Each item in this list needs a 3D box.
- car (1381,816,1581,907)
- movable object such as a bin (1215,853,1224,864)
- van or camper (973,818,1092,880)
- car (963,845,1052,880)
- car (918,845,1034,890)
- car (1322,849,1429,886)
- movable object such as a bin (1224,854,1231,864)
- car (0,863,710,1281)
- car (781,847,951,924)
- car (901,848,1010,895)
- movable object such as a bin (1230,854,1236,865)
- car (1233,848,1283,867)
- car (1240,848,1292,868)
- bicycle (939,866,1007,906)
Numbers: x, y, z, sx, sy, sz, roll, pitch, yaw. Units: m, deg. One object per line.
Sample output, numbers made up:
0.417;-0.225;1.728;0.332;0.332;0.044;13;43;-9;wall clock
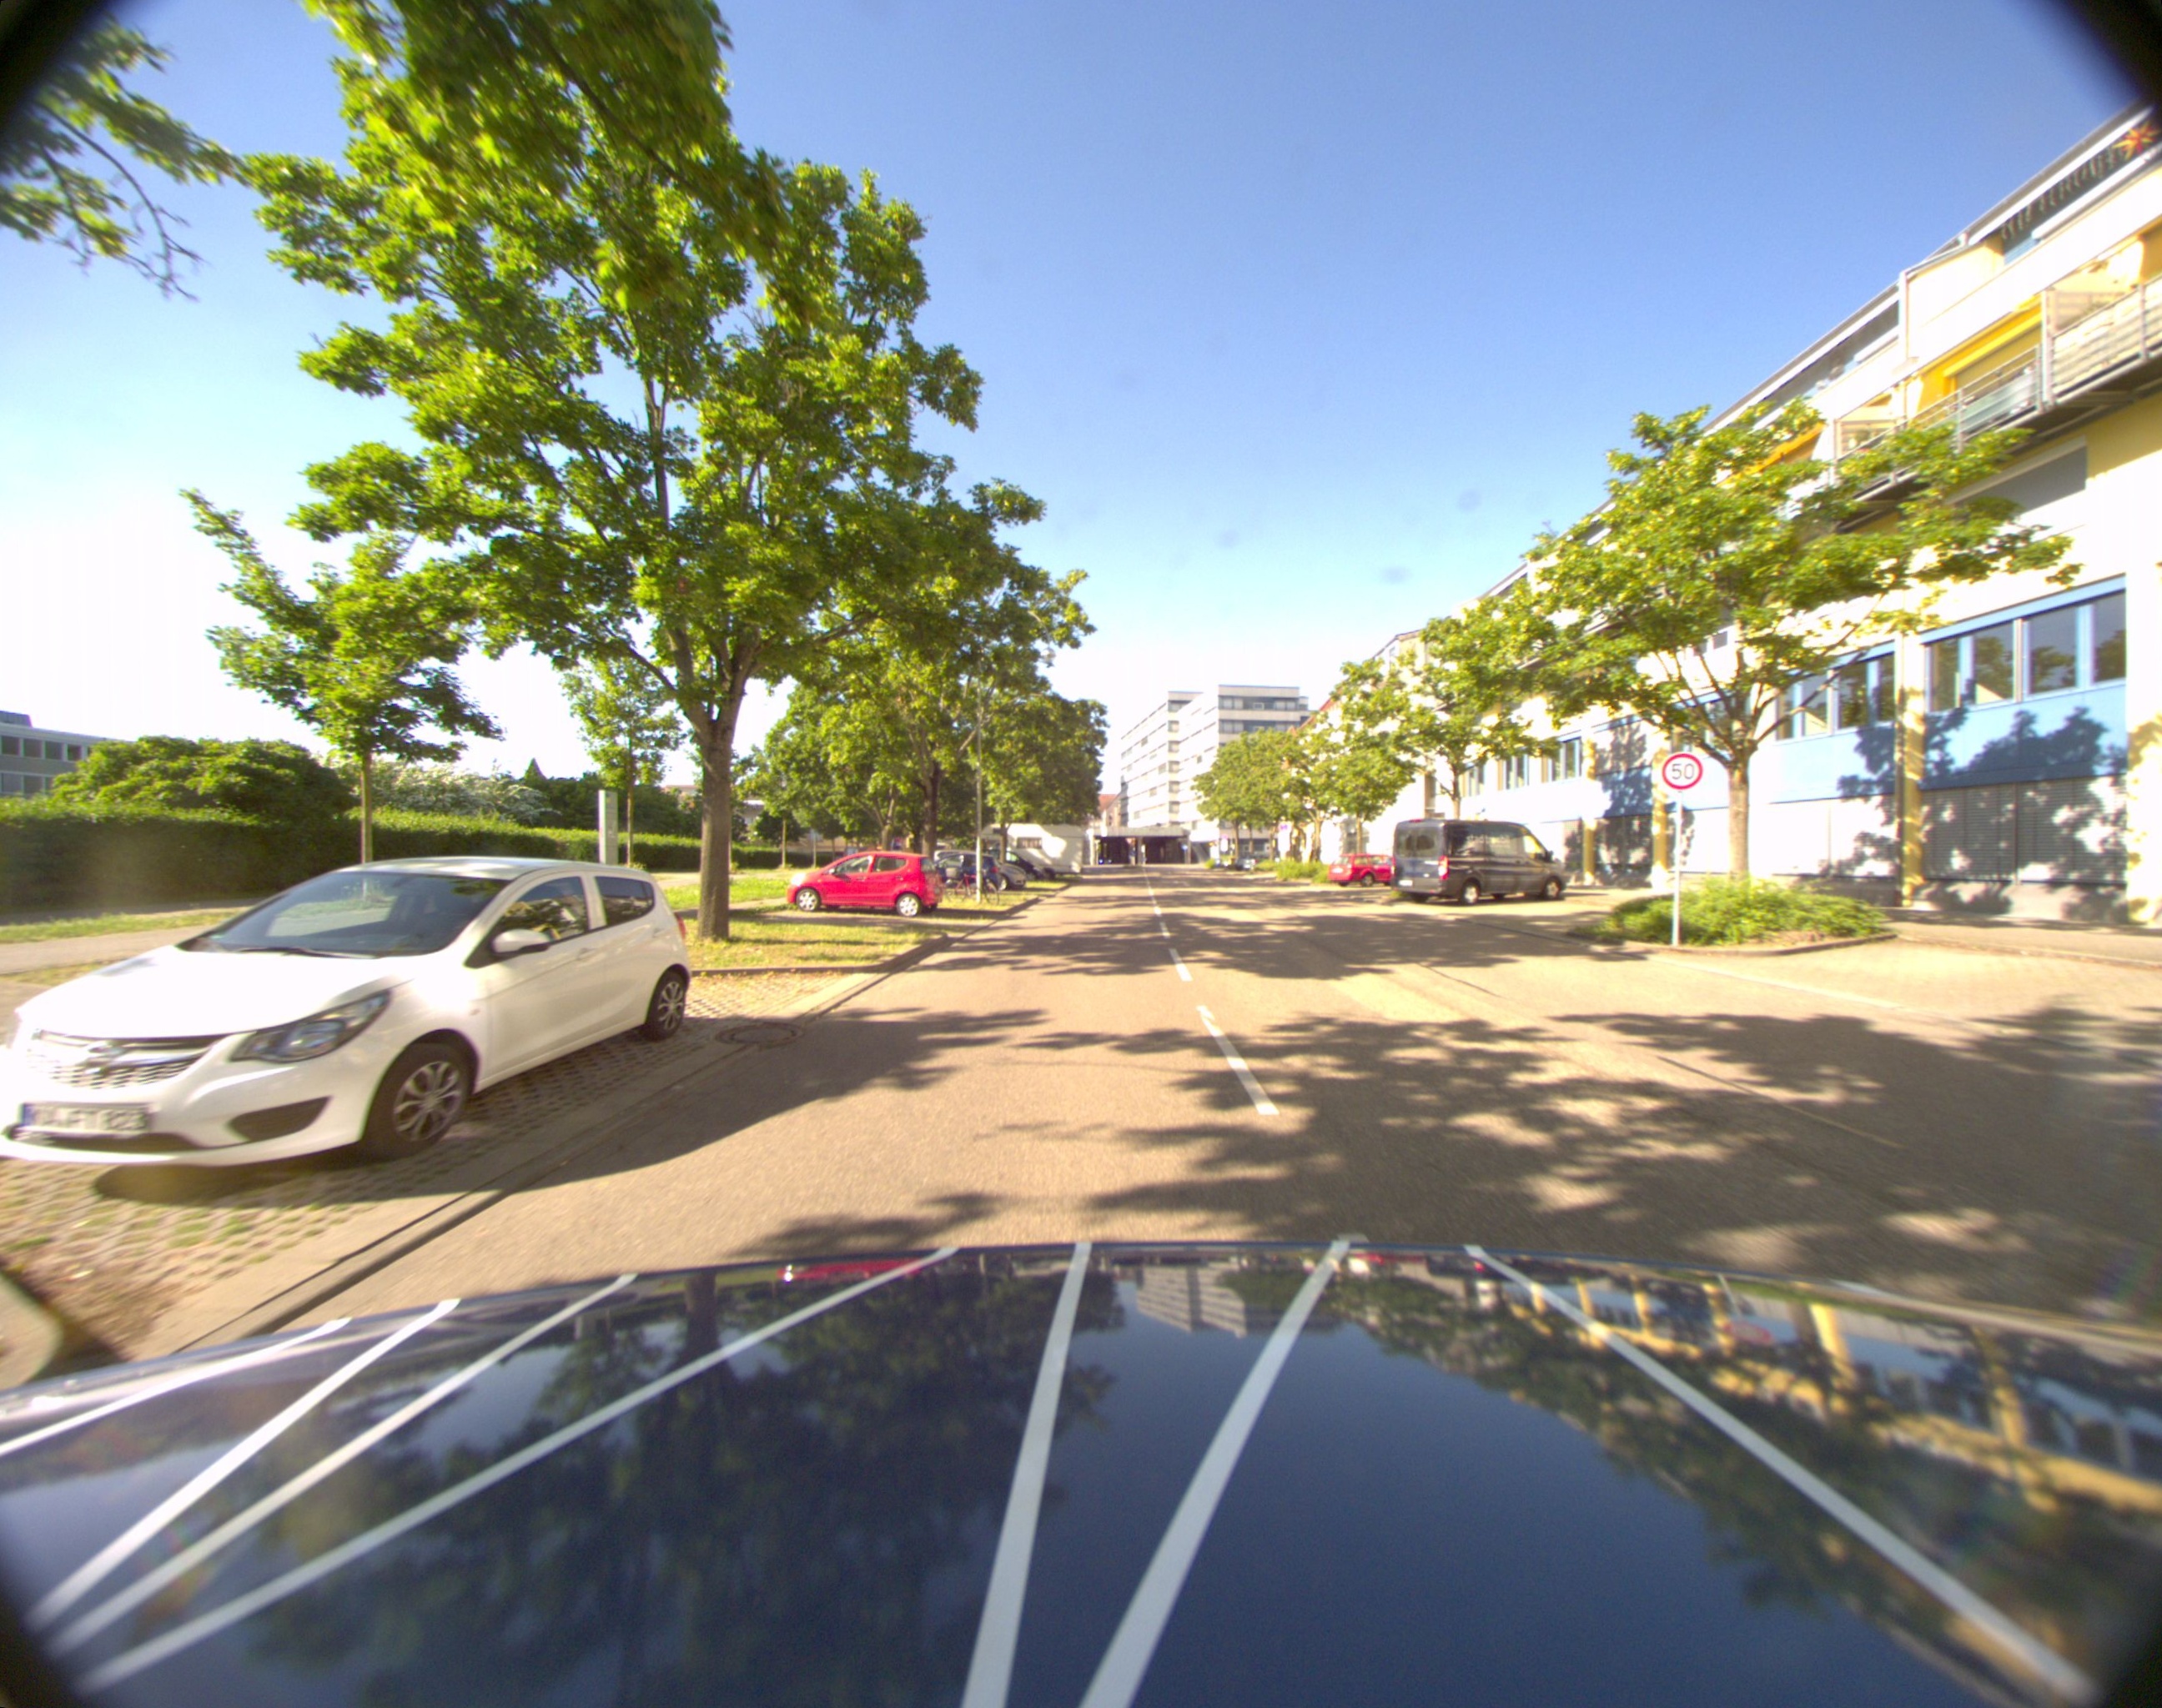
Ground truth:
11.862;0.164;22.525;5.511;2.422;2.182;-2;0;-23;car
14.188;0.442;77.772;0.674;1.067;0.804;0;1;29;movable object such as a bin
-2.501;-0.275;40.831;5.995;2.967;2.671;2;1;3;van or camper
-3.610;0.401;37.939;4.158;1.537;1.859;3;1;2;car
-4.141;0.527;30.287;4.202;1.537;1.860;3;1;5;car
12.902;0.575;33.338;4.238;1.467;1.767;-1;0;-19;car
14.904;0.485;77.382;0.476;0.954;0.543;-1;1;27;movable object such as a bin
-4.102;0.867;4.800;1.647;1.485;3.765;2;0;-1;car
-5.001;0.697;17.961;3.441;1.535;1.628;3;1;5;car
-4.521;0.604;27.659;3.468;1.470;1.860;3;1;8;car
15.600;0.570;78.039;0.476;1.035;0.543;-1;1;29;movable object such as a bin
15.328;0.294;65.884;4.006;1.456;1.807;-2;1;-30;car
15.353;0.335;62.904;4.006;1.456;1.807;-2;1;-30;car
-2.952;0.859;20.709;1.753;0.985;0.530;2;1;16;bicycle
